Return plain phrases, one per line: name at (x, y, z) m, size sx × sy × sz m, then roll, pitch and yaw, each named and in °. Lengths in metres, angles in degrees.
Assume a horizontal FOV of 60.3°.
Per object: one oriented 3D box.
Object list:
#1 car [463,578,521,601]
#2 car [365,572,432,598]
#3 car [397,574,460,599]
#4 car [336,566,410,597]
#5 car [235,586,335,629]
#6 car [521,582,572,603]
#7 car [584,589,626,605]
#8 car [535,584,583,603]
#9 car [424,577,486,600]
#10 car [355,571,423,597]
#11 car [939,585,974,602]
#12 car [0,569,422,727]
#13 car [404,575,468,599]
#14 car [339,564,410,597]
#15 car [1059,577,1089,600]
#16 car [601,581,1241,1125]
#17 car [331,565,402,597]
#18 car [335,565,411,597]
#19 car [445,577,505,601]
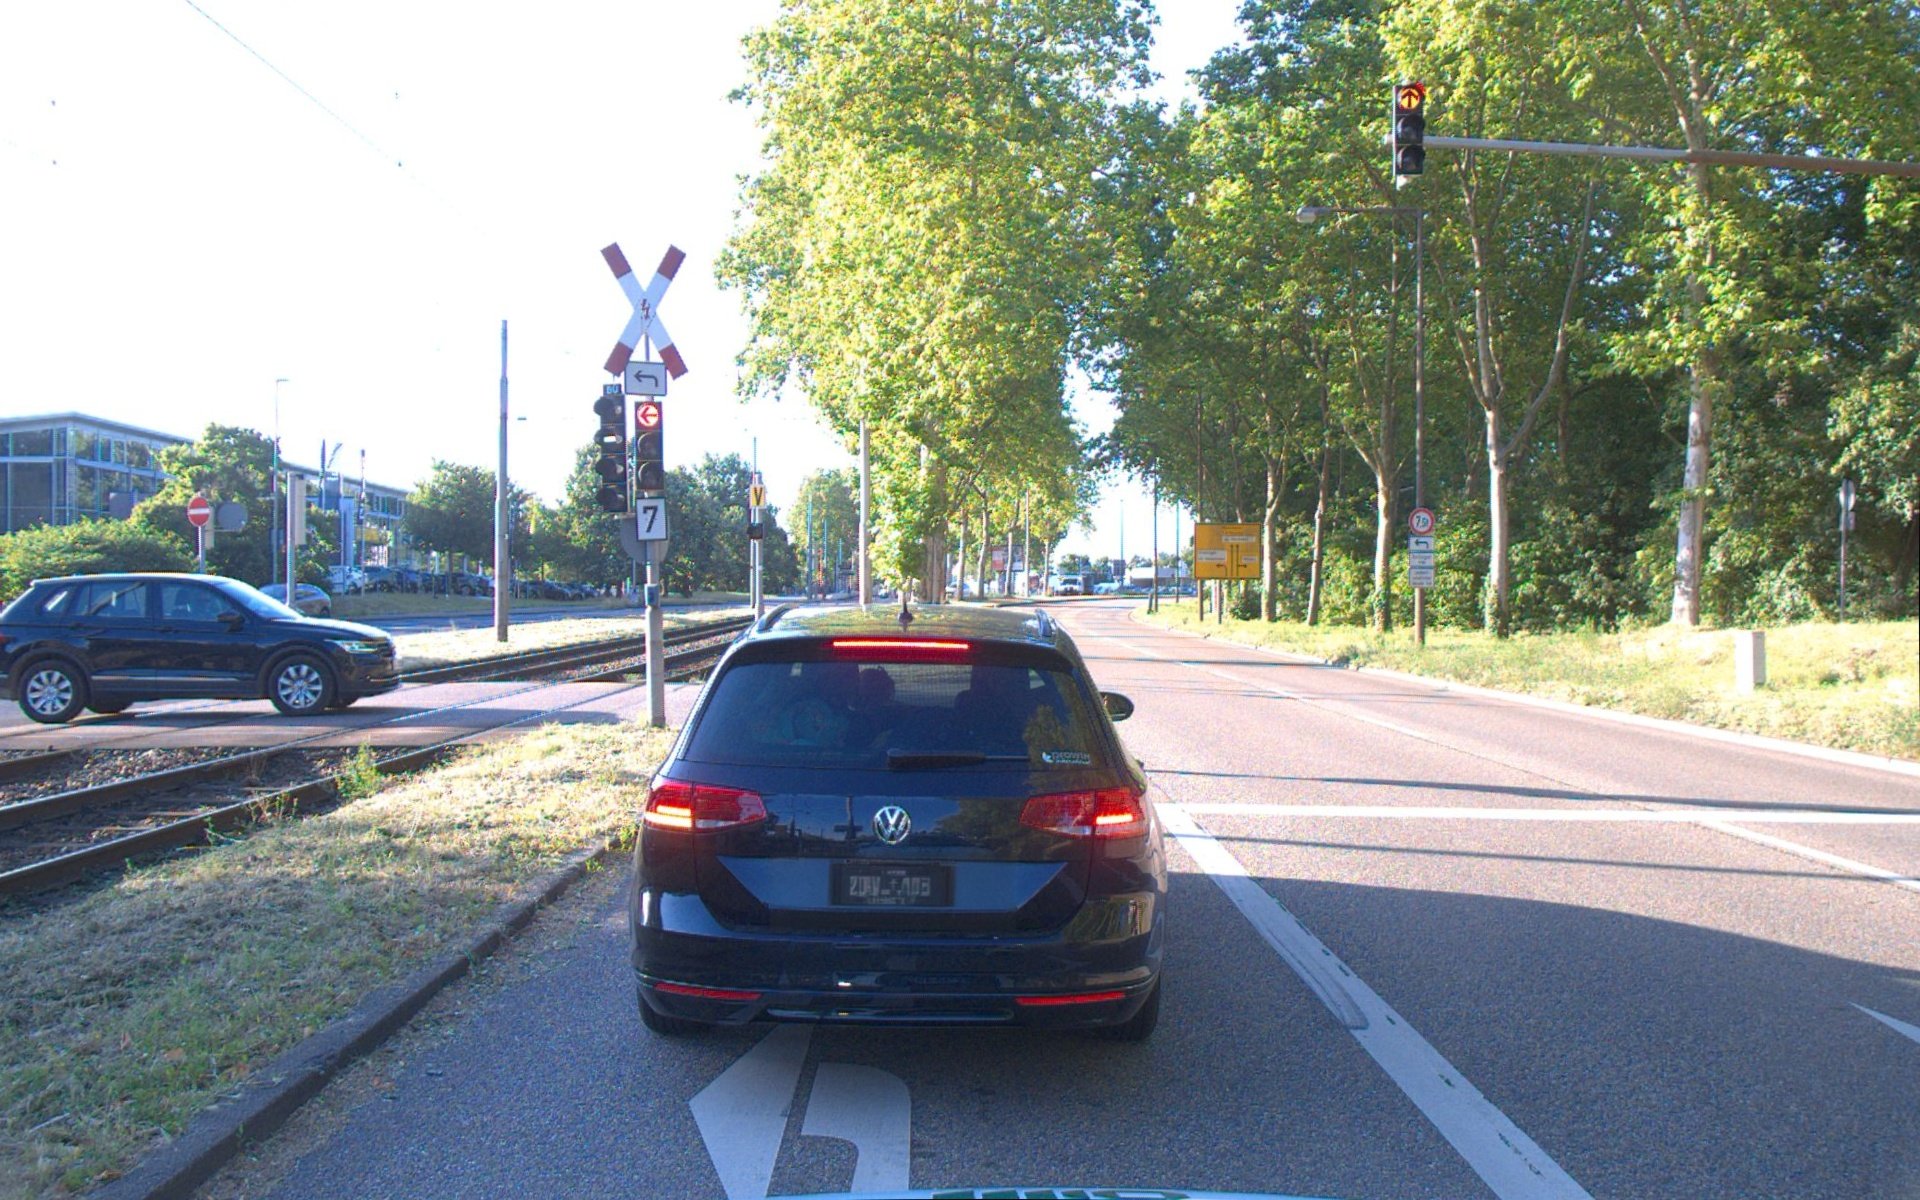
car at (-35.239, -0.768, 124.478) m, size 3.909 × 1.649 × 1.742 m, roll 1°, pitch 0°, yaw -6°
car at (-35.542, -0.952, 104.718) m, size 3.930 × 1.583 × 1.732 m, roll 1°, pitch 0°, yaw -22°
car at (-35.706, -0.886, 111.113) m, size 3.930 × 1.583 × 1.732 m, roll 1°, pitch 0°, yaw -22°
car at (-33.692, -1.054, 94.962) m, size 3.930 × 1.734 × 1.732 m, roll 1°, pitch 0°, yaw -22°
car at (-25.040, 0.266, 61.503) m, size 1.823 × 1.507 × 4.174 m, roll 1°, pitch 1°, yaw 3°
car at (-34.550, -0.620, 138.236) m, size 3.909 × 1.649 × 1.742 m, roll 1°, pitch 0°, yaw -6°
car at (-35.963, -0.339, 167.442) m, size 3.909 × 1.583 × 1.742 m, roll 1°, pitch 0°, yaw -5°
car at (-35.219, -0.562, 145.381) m, size 3.909 × 1.649 × 1.742 m, roll 1°, pitch 0°, yaw -6°
car at (-35.778, -0.826, 117.331) m, size 3.911 × 1.583 × 1.741 m, roll 1°, pitch 0°, yaw -7°
car at (-35.201, -0.979, 101.940) m, size 3.930 × 1.583 × 1.732 m, roll 1°, pitch 0°, yaw -22°
car at (-0.306, -0.623, 151.653) m, size 1.824 × 1.507 × 4.091 m, roll 1°, pitch 1°, yaw 22°
car at (-8.706, 0.513, 19.290) m, size 4.272 × 1.663 × 1.876 m, roll -1°, pitch 0°, yaw -6°
car at (-36.038, -0.865, 113.808) m, size 3.913 × 1.583 × 1.740 m, roll 1°, pitch 0°, yaw -9°
car at (-34.441, -1.118, 97.287) m, size 3.930 × 1.848 × 1.732 m, roll 1°, pitch 0°, yaw -22°
car at (12.942, -1.334, 187.449) m, size 2.051 × 2.504 × 5.856 m, roll 1°, pitch 1°, yaw 16°
car at (-0.139, 0.703, 6.398) m, size 1.758 × 1.490 × 3.582 m, roll 1°, pitch 0°, yaw -1°
car at (-35.548, -1.150, 99.025) m, size 3.930 × 1.848 × 1.732 m, roll 1°, pitch 0°, yaw -22°
car at (-32.910, -1.045, 92.723) m, size 3.930 × 1.734 × 1.732 m, roll 1°, pitch 0°, yaw -22°
car at (-35.570, -0.809, 121.262) m, size 3.909 × 1.649 × 1.742 m, roll 1°, pitch 0°, yaw -6°
